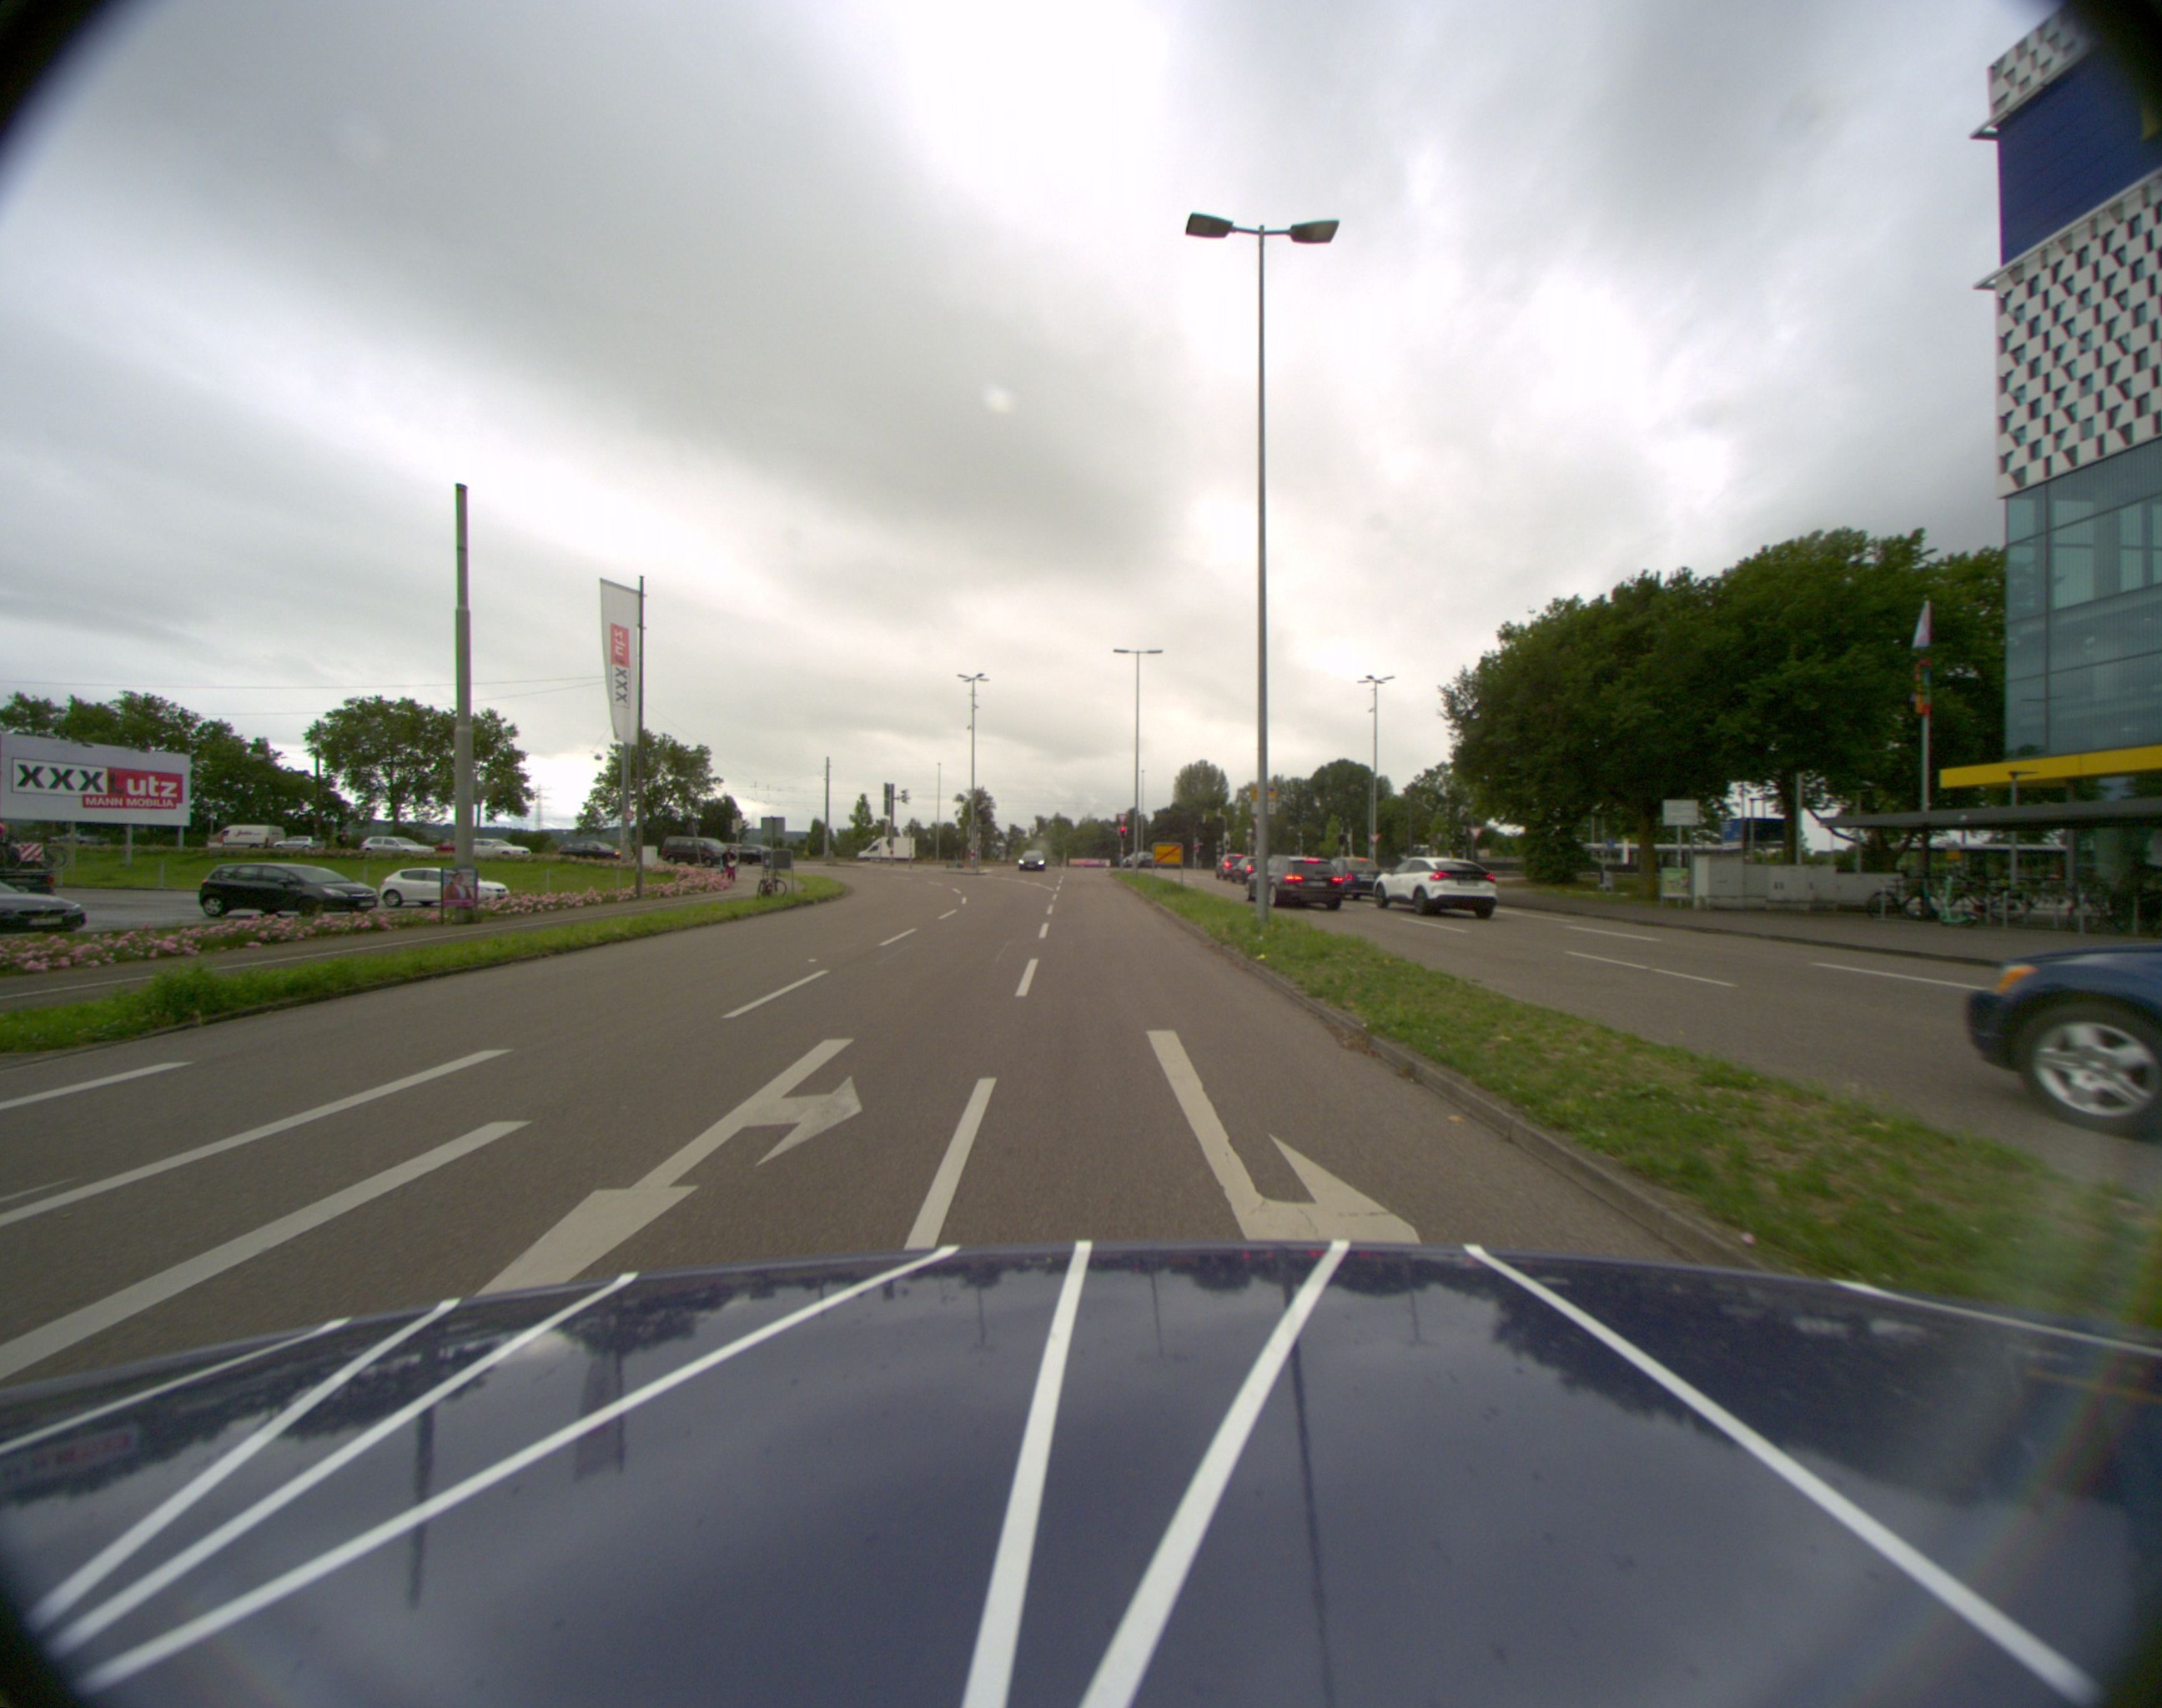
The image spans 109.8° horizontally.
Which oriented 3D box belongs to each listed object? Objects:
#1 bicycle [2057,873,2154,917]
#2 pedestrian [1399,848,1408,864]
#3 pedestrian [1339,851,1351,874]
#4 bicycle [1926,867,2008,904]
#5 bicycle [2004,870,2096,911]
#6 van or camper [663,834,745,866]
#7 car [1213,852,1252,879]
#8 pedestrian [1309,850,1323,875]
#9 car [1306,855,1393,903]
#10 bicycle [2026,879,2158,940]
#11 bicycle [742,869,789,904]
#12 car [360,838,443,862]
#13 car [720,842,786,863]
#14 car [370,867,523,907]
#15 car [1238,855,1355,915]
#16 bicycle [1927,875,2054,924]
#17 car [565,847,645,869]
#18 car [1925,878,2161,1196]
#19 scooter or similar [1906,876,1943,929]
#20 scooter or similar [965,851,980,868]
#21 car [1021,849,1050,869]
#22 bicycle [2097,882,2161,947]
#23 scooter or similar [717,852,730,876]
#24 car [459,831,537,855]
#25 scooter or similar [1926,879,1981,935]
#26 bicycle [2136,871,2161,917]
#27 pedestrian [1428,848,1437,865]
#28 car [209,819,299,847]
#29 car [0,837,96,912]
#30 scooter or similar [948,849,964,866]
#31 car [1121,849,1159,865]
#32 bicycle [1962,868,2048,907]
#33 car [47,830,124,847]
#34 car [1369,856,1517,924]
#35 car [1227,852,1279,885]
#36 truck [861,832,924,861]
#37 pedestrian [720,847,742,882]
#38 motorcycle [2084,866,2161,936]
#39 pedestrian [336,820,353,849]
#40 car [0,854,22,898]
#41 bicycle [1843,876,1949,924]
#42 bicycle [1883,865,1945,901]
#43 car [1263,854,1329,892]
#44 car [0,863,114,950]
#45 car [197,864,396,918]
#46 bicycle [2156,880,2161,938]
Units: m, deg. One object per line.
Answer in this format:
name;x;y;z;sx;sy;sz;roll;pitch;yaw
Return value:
bicycle;28.871;1.145;21.424;2.021;1.150;0.593;-1;0;-2
pedestrian;32.987;0.200;77.643;0.632;1.550;0.711;0;-1;1
pedestrian;20.379;0.652;58.698;0.675;1.702;0.766;0;1;4
bicycle;28.987;1.024;24.866;2.021;1.150;0.593;-1;0;-2
bicycle;28.878;1.071;22.656;2.021;1.150;0.593;-1;0;-2
van or camper;-25.435;-0.301;51.299;4.743;2.003;2.126;2;3;16
car;9.009;0.671;45.331;1.607;1.494;3.209;1;0;-2
pedestrian;17.242;0.604;55.823;0.664;1.756;0.686;3;4;-3
car;9.509;0.830;27.264;1.607;1.489;4.036;2;1;-1
bicycle;20.674;1.133;15.560;1.899;1.150;0.593;-2;1;0
bicycle;-10.290;1.041;24.812;0.664;1.042;1.692;0;1;6
car;-47.200;-0.262;52.824;4.073;1.592;1.747;0;-2;-3
car;-24.301;-0.132;56.312;4.200;1.455;1.839;1;1;12
car;-23.756;1.227;28.558;4.117;1.437;1.876;0;-2;-1
car;5.990;0.805;21.717;1.888;1.428;4.430;2;1;-2
bicycle;22.547;1.130;18.871;2.018;1.150;0.594;-2;1;16
car;-32.848;0.276;52.519;4.316;1.455;1.969;0;1;5
car;6.128;0.910;2.397;1.936;1.477;4.439;2;0;-1
scooter or similar;20.313;1.144;18.302;0.358;1.178;1.295;-1;0;38
scooter or similar;-8.105;0.391;56.886;1.016;1.249;0.465;2;2;13
car;-3.270;0.325;55.790;1.999;1.383;4.342;0;1;-2
bicycle;20.709;1.129;14.479;1.899;1.150;0.593;-2;1;0
scooter or similar;-18.652;0.497;39.638;0.347;1.226;1.161;-2;2;-38
car;-40.582;-0.749;52.961;4.043;1.529;1.734;1;-2;0
scooter or similar;19.541;1.160;17.043;0.423;1.142;1.351;-1;1;32
bicycle;28.815;1.028;19.927;2.023;1.150;0.593;-1;0;-13
pedestrian;36.034;0.218;77.823;0.586;1.731;0.788;0;-1;2
car;-84.836;-2.099;77.994;5.898;2.609;2.664;1;-2;-6
car;-33.507;0.555;22.977;5.046;2.153;2.123;1;1;5
scooter or similar;-9.296;0.258;56.341;1.113;1.249;0.321;2;3;13
car;5.764;0.352;73.630;1.673;1.400;4.382;-1;-2;34
bicycle;28.885;1.035;23.761;2.021;1.150;0.593;-1;0;-2
car;-95.057;-1.501;72.594;4.343;1.382;1.876;2;-2;-7
car;9.527;0.868;20.433;1.936;1.510;4.181;2;1;0
car;8.935;0.718;39.777;1.666;1.494;4.064;2;1;-1
truck;-20.900;-0.826;84.556;6.546;2.905;2.826;1;-2;-12
pedestrian;-16.463;0.477;35.733;0.785;1.588;0.714;-2;4;-38
motorcycle;22.943;0.981;16.264;2.501;1.347;0.799;-2;0;-12
pedestrian;-45.219;-1.187;46.651;0.636;1.771;0.545;1;-2;-39
car;-38.500;0.717;25.265;4.207;1.467;1.745;1;1;2
bicycle;20.444;1.144;19.073;2.021;1.150;0.593;0;1;0
bicycle;28.789;0.983;26.257;2.023;1.150;0.593;-1;0;-16
car;9.374;0.798;33.425;1.607;1.436;4.142;2;1;-1
car;-23.373;1.025;15.578;4.538;1.575;1.768;0;4;-2
car;-23.770;1.107;23.143;4.103;1.573;1.769;0;-1;-3
bicycle;22.787;1.082;15.089;2.021;1.150;0.593;-2;1;0
